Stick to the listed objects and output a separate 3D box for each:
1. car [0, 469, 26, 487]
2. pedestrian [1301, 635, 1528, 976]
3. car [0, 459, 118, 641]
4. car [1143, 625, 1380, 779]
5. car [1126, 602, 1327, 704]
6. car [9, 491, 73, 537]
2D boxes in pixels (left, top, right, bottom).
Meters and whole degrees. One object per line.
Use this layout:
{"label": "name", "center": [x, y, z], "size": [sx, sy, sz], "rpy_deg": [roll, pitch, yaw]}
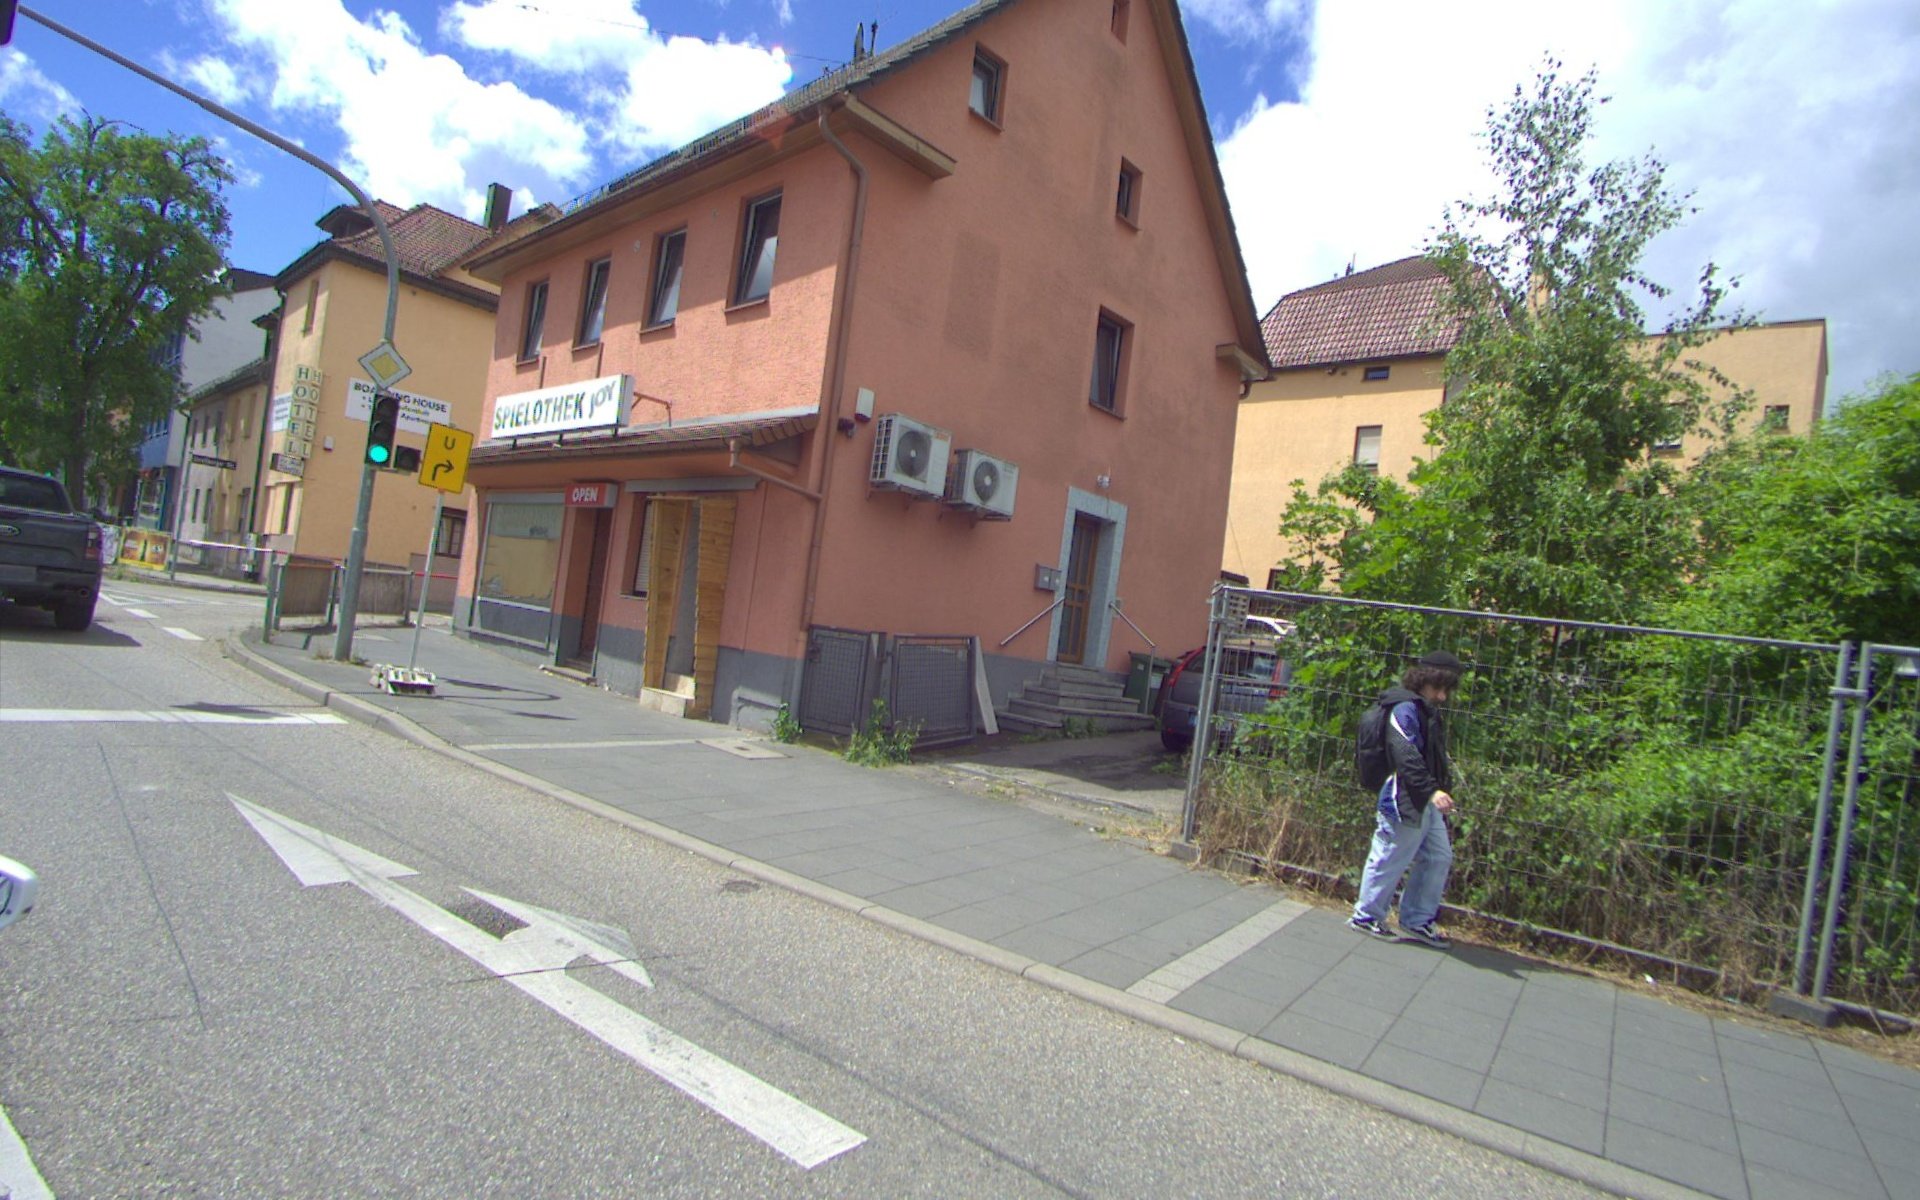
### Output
{"label": "car", "center": [-99.763, -12.813, 105.741], "size": [1.807, 1.486, 3.958], "rpy_deg": [8, -1, -38]}
{"label": "pedestrian", "center": [2.562, 1.094, 5.668], "size": [0.767, 1.663, 0.762], "rpy_deg": [9, 1, 43]}
{"label": "car", "center": [-12.308, -0.743, 12.531], "size": [5.080, 1.909, 1.996], "rpy_deg": [5, -1, 42]}
{"label": "car", "center": [3.790, 1.195, 12.484], "size": [1.627, 1.516, 2.796], "rpy_deg": [7, 2, 43]}
{"label": "car", "center": [6.207, 1.215, 23.649], "size": [3.947, 1.804, 1.990], "rpy_deg": [7, -1, 44]}
{"label": "car", "center": [-39.529, -3.688, 43.238], "size": [1.782, 1.615, 3.950], "rpy_deg": [7, -1, -45]}
